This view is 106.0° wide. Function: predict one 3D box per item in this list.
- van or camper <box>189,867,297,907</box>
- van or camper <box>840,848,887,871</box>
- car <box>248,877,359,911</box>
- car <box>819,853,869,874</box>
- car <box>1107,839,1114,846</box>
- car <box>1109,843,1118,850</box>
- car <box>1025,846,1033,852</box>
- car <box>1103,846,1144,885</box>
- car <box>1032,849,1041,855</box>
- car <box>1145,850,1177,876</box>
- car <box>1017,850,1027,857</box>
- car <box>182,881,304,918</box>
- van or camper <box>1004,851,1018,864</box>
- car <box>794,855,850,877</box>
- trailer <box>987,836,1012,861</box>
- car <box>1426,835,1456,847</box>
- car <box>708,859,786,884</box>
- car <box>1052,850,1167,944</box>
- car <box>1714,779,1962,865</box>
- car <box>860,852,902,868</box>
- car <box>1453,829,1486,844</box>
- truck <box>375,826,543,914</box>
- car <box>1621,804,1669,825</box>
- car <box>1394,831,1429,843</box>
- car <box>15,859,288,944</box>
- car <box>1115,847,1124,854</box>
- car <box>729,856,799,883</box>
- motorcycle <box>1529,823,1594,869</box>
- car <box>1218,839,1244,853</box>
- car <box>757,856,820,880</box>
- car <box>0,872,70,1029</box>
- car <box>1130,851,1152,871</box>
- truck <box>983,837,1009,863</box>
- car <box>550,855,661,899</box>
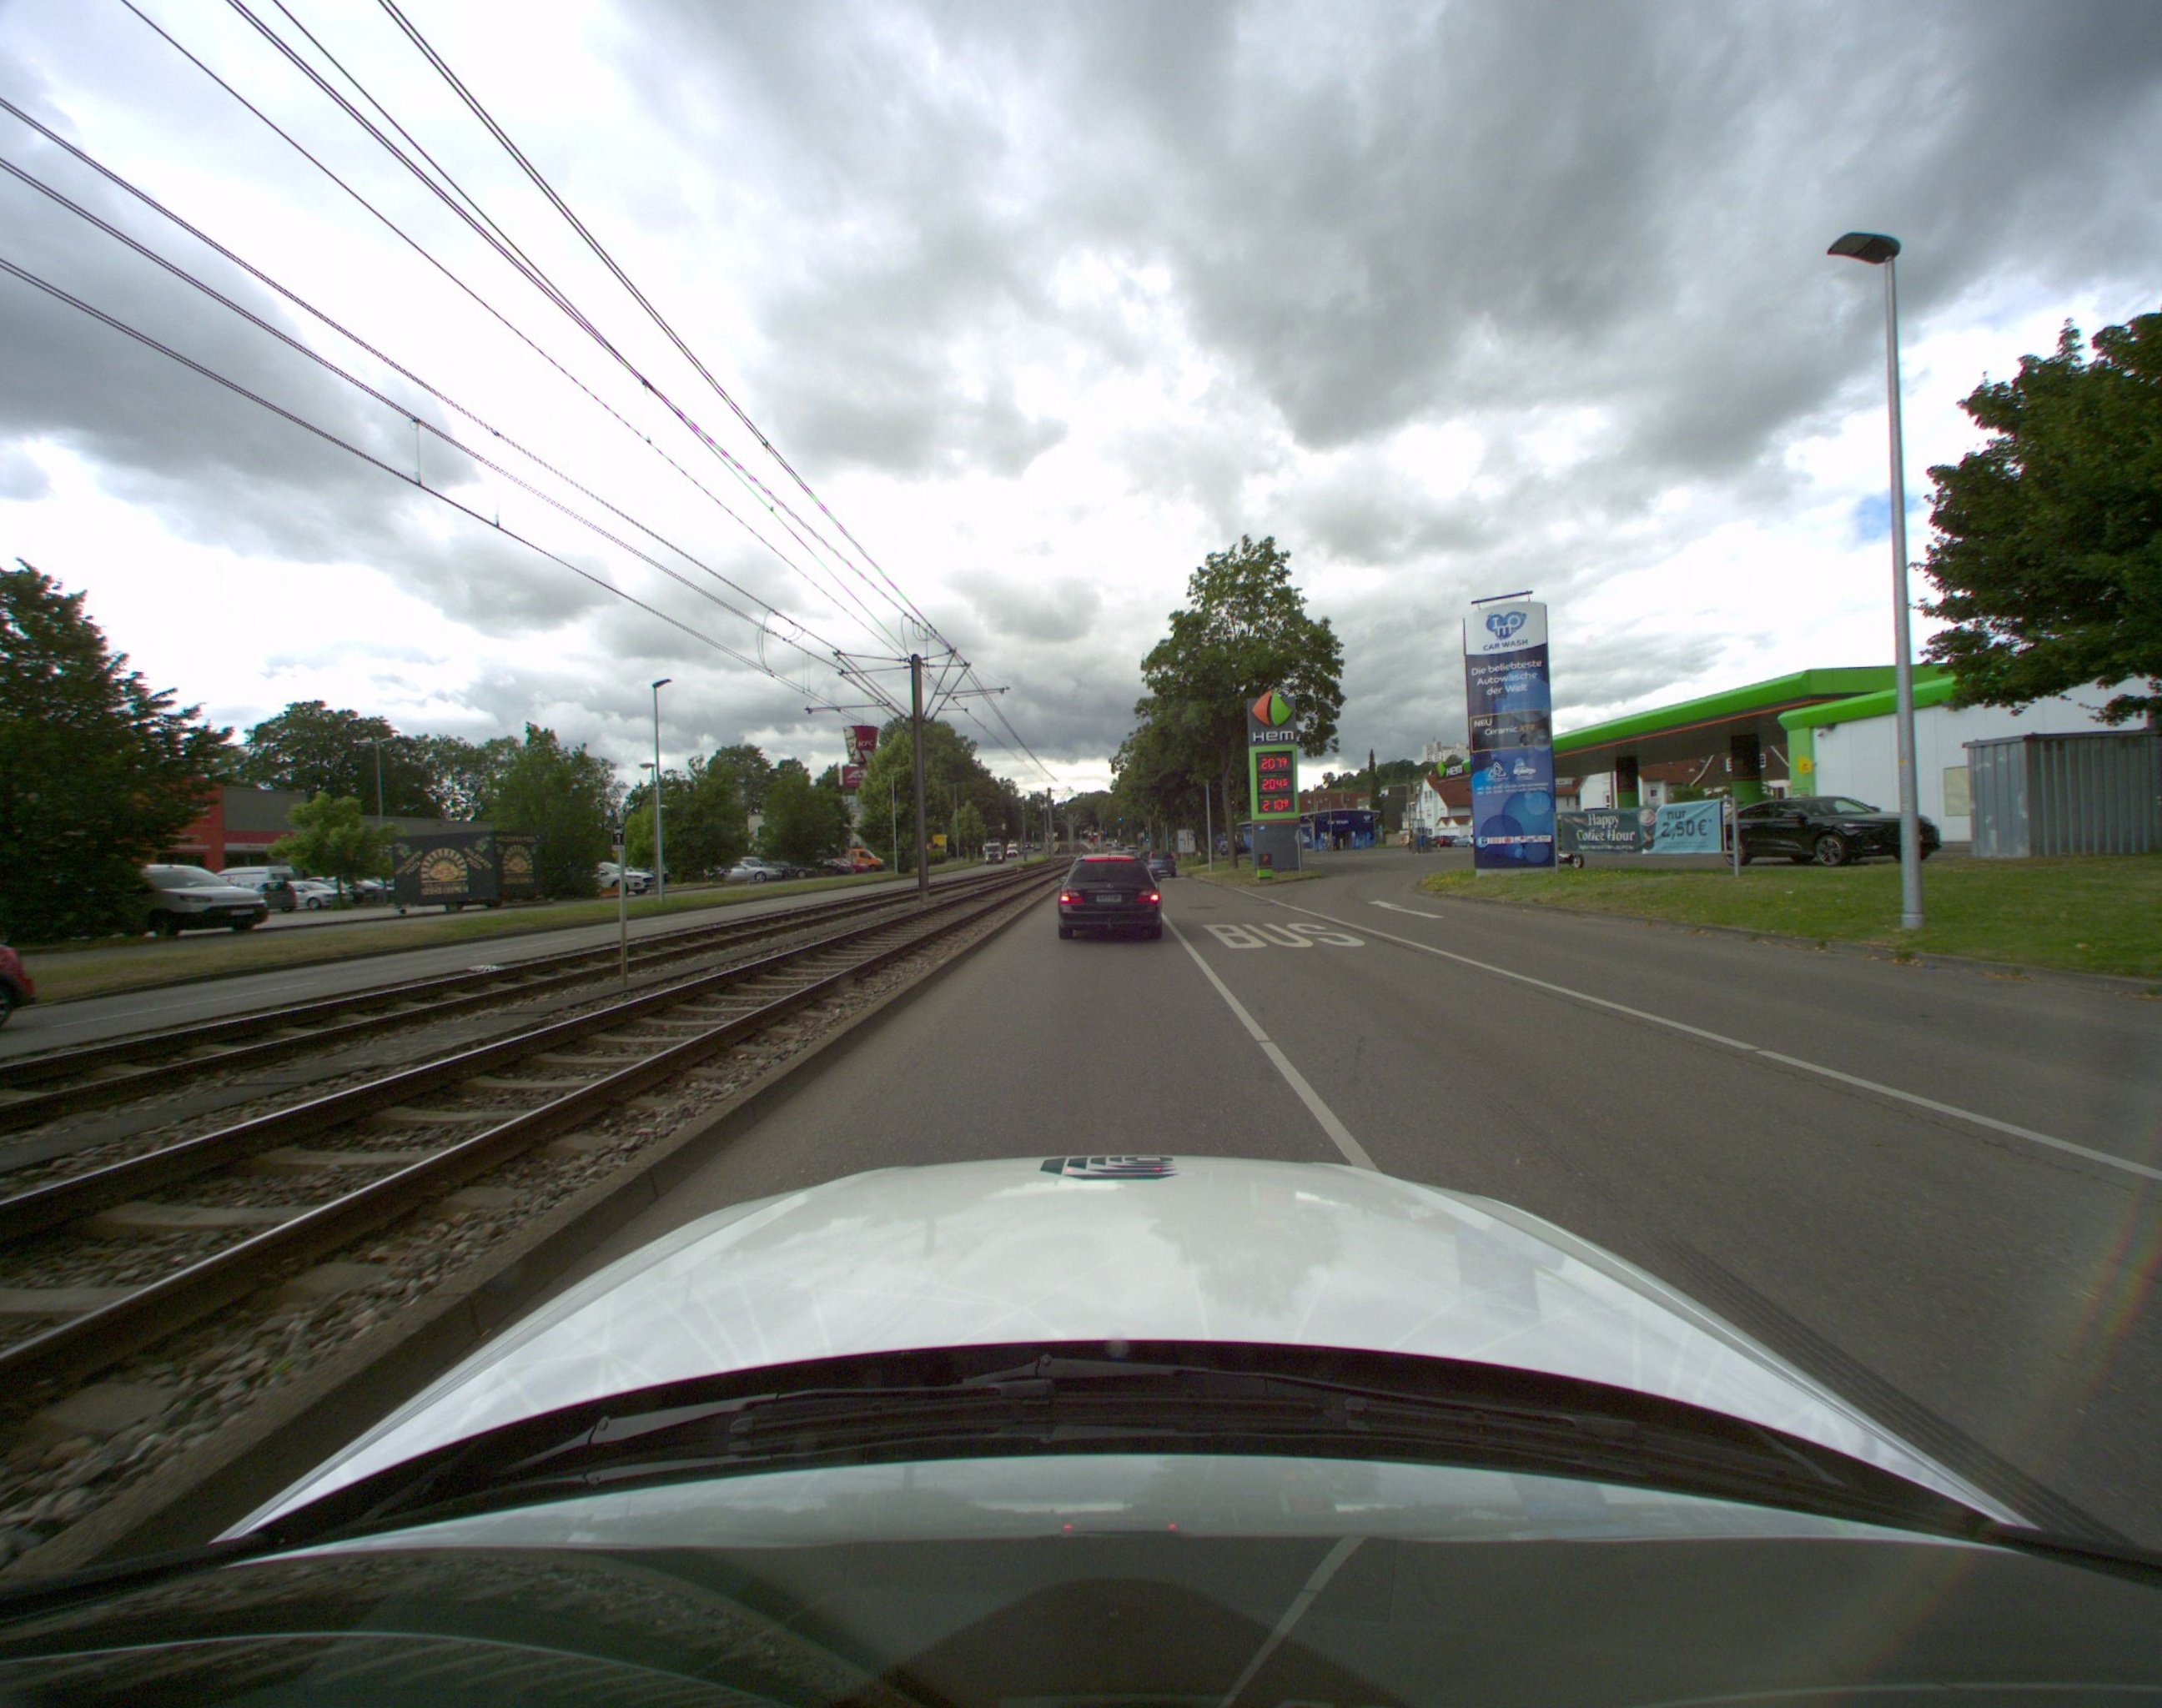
[{"bbox_3d":[-49.890,1.943,48.544,4.252,2.145,1.820,-3,0,-3],"label":"van or camper"},{"bbox_3d":[-20.873,0.525,78.194,3.978,2.135,1.876,-1,0,-3],"label":"van or camper"},{"bbox_3d":[-38.990,1.992,40.906,3.736,1.472,1.677,-3,0,-5],"label":"car"},{"bbox_3d":[-21.231,0.837,73.028,3.978,1.797,1.876,-1,0,-3],"label":"car"},{"bbox_3d":[7.818,-3.094,216.345,1.986,1.838,4.002,-1,0,2],"label":"car"},{"bbox_3d":[7.691,-1.785,193.322,1.986,1.714,4.002,-2,0,2],"label":"car"},{"bbox_3d":[-14.309,-1.265,225.625,1.758,1.647,3.773,-1,0,2],"label":"car"},{"bbox_3d":[1.958,0.514,38.112,1.773,1.750,3.720,0,0,2],"label":"car"},{"bbox_3d":[-10.823,-0.468,199.073,1.758,1.647,3.773,-1,0,2],"label":"car"},{"bbox_3d":[4.460,0.501,45.646,1.565,1.414,3.356,0,0,2],"label":"car"},{"bbox_3d":[-13.145,-0.111,180.849,1.758,1.647,3.773,-1,0,2],"label":"car"},{"bbox_3d":[-39.310,2.129,38.285,3.736,1.472,1.677,-3,0,-5],"label":"car"},{"bbox_3d":[-13.385,0.668,155.429,1.987,2.354,5.765,-3,0,0],"label":"van or camper"},{"bbox_3d":[-21.526,1.000,67.713,3.978,1.599,1.876,-3,0,-3],"label":"car"},{"bbox_3d":[-12.908,-0.800,130.144,2.697,3.660,13.292,-3,0,-1],"label":"trailer"},{"bbox_3d":[42.950,-1.578,97.189,1.581,1.394,3.406,-1,0,-10],"label":"car"},{"bbox_3d":[-21.647,1.121,52.941,4.293,1.472,1.680,-2,0,-1],"label":"car"},{"bbox_3d":[0.522,0.674,14.910,1.801,1.474,3.883,-1,0,2],"label":"car"},{"bbox_3d":[17.554,-0.654,19.240,1.814,1.674,4.339,-4,-1,2],"label":"car"},{"bbox_3d":[-21.206,0.628,86.661,3.978,1.599,1.795,-3,0,-3],"label":"car"},{"bbox_3d":[43.912,-1.916,92.099,1.533,1.599,3.724,-1,0,-10],"label":"car"},{"bbox_3d":[-21.944,0.533,28.881,3.975,2.821,2.375,-3,0,-1],"label":"truck"},{"bbox_3d":[51.650,-3.576,74.726,1.683,1.684,4.002,-3,0,2],"label":"car"},{"bbox_3d":[45.924,-2.339,113.232,4.203,1.684,1.777,-1,0,-1],"label":"car"},{"bbox_3d":[-22.332,1.100,19.716,4.207,1.727,1.995,-3,0,0],"label":"car"},{"bbox_3d":[8.184,-0.786,173.491,1.662,1.532,3.768,-1,0,-1],"label":"car"},{"bbox_3d":[-21.618,1.017,55.594,3.978,1.635,1.876,-3,0,-3],"label":"car"},{"bbox_3d":[15.060,-0.243,25.590,0.852,1.331,1.991,-3,0,2],"label":"motorcycle"},{"bbox_3d":[19.263,-1.036,104.569,1.987,1.682,4.607,-3,0,26],"label":"car"},{"bbox_3d":[-21.684,1.008,60.491,3.978,1.599,1.876,-3,0,-3],"label":"car"},{"bbox_3d":[-13.197,1.144,7.870,1.786,1.772,4.000,-2,0,0],"label":"car"},{"bbox_3d":[4.383,0.484,59.712,1.460,1.414,3.356,0,0,2],"label":"car"},{"bbox_3d":[-12.823,-0.555,123.814,2.698,3.663,11.107,-3,0,-1],"label":"truck"},{"bbox_3d":[-22.252,1.048,38.218,3.978,1.797,1.876,-3,0,-3],"label":"car"}]
